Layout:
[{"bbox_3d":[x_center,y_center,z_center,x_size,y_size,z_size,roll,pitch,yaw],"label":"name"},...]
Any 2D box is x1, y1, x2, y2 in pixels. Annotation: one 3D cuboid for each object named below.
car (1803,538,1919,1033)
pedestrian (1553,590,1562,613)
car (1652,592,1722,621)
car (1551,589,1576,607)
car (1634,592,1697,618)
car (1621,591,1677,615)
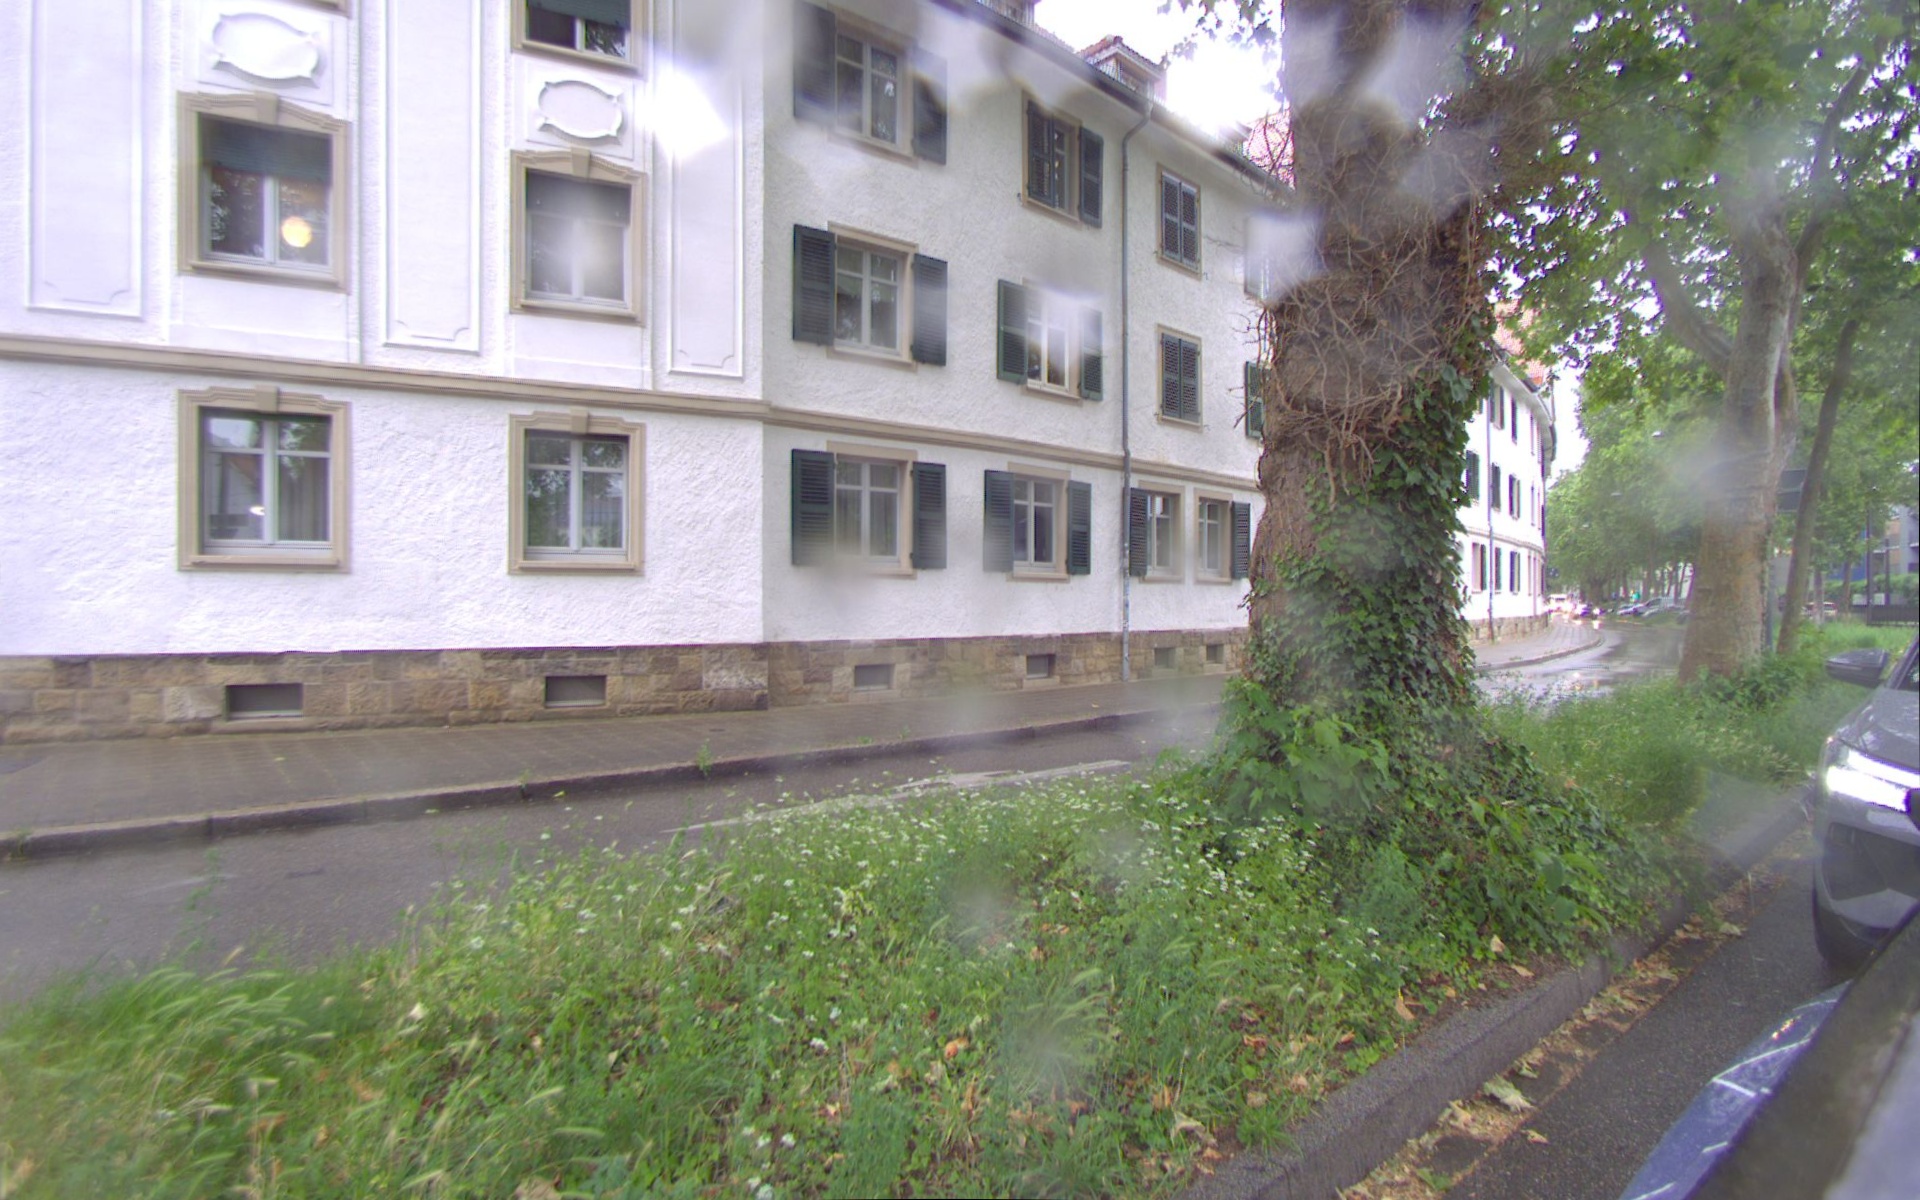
[{"bbox_3d":[5.132,0.613,4.315,4.039,1.662,1.913,0,0,-44],"label":"car"},{"bbox_3d":[48.905,0.103,82.838,0.668,1.845,0.672,0,0,31],"label":"pedestrian"},{"bbox_3d":[52.635,0.459,73.391,3.969,2.039,1.977,0,-1,32],"label":"car"},{"bbox_3d":[78.130,-0.295,131.132,2.173,2.292,5.366,0,0,24],"label":"car"},{"bbox_3d":[55.902,0.375,80.297,3.969,2.039,1.977,0,-1,32],"label":"car"},{"bbox_3d":[60.765,0.273,89.280,3.969,2.039,1.977,0,-1,32],"label":"car"}]
